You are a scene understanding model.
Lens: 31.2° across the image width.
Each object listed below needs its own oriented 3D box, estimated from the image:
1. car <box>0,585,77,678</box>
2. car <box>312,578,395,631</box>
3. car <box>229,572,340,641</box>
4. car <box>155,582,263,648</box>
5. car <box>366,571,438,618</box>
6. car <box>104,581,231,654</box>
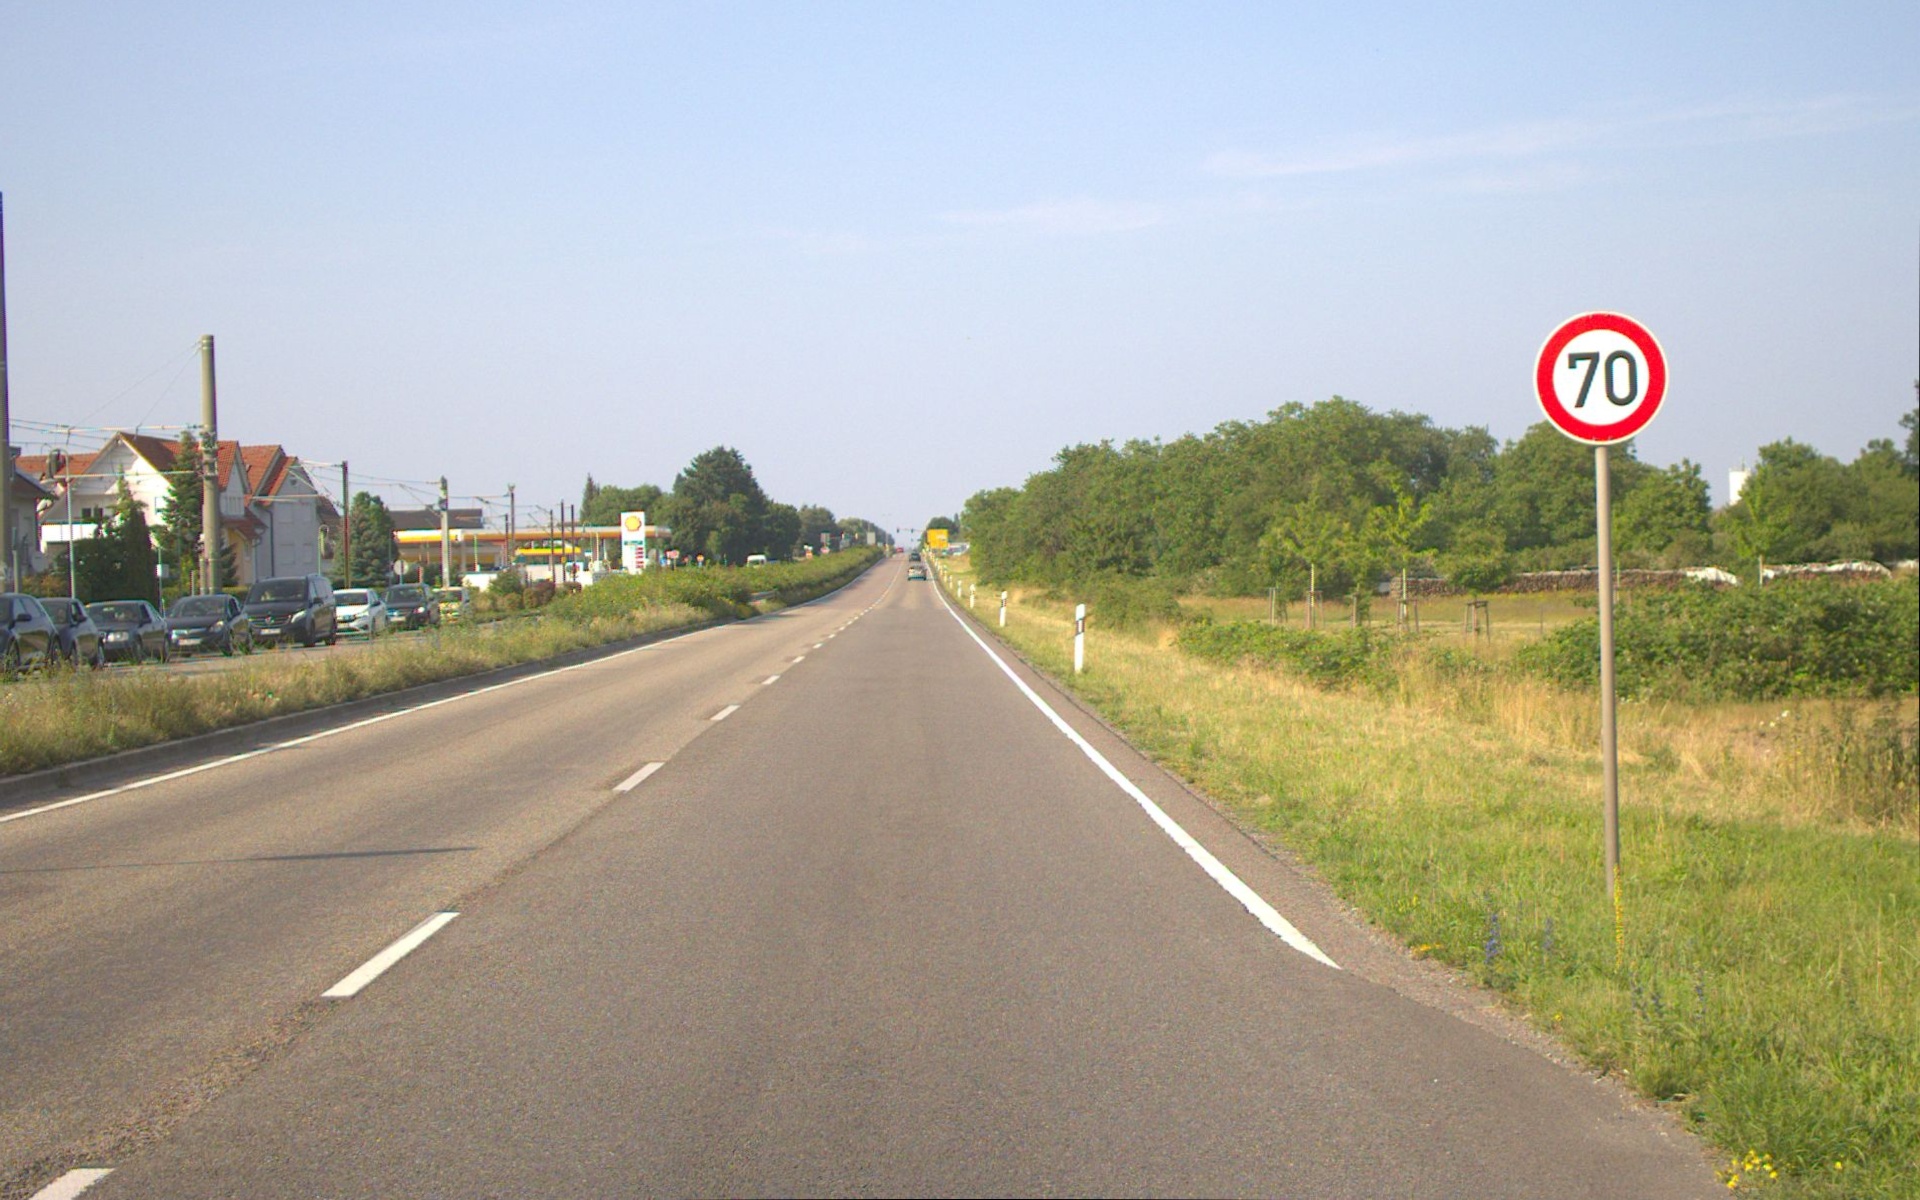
[{"bbox_3d":[-17.062,0.557,60.904,1.660,1.557,4.546,-3,1,-1],"label":"car"},{"bbox_3d":[-17.783,0.114,100.970,1.660,1.426,4.449,-3,1,-1],"label":"car"},{"bbox_3d":[-17.876,0.152,91.212,1.915,1.677,5.254,-3,1,-1],"label":"car"},{"bbox_3d":[-17.770,0.328,81.506,1.660,1.426,4.057,-3,1,-1],"label":"car"},{"bbox_3d":[-18.396,-0.199,113.416,1.660,1.426,4.326,-3,1,-1],"label":"car"},{"bbox_3d":[-17.081,0.362,74.290,1.660,1.426,4.717,-3,1,-1],"label":"car"}]
